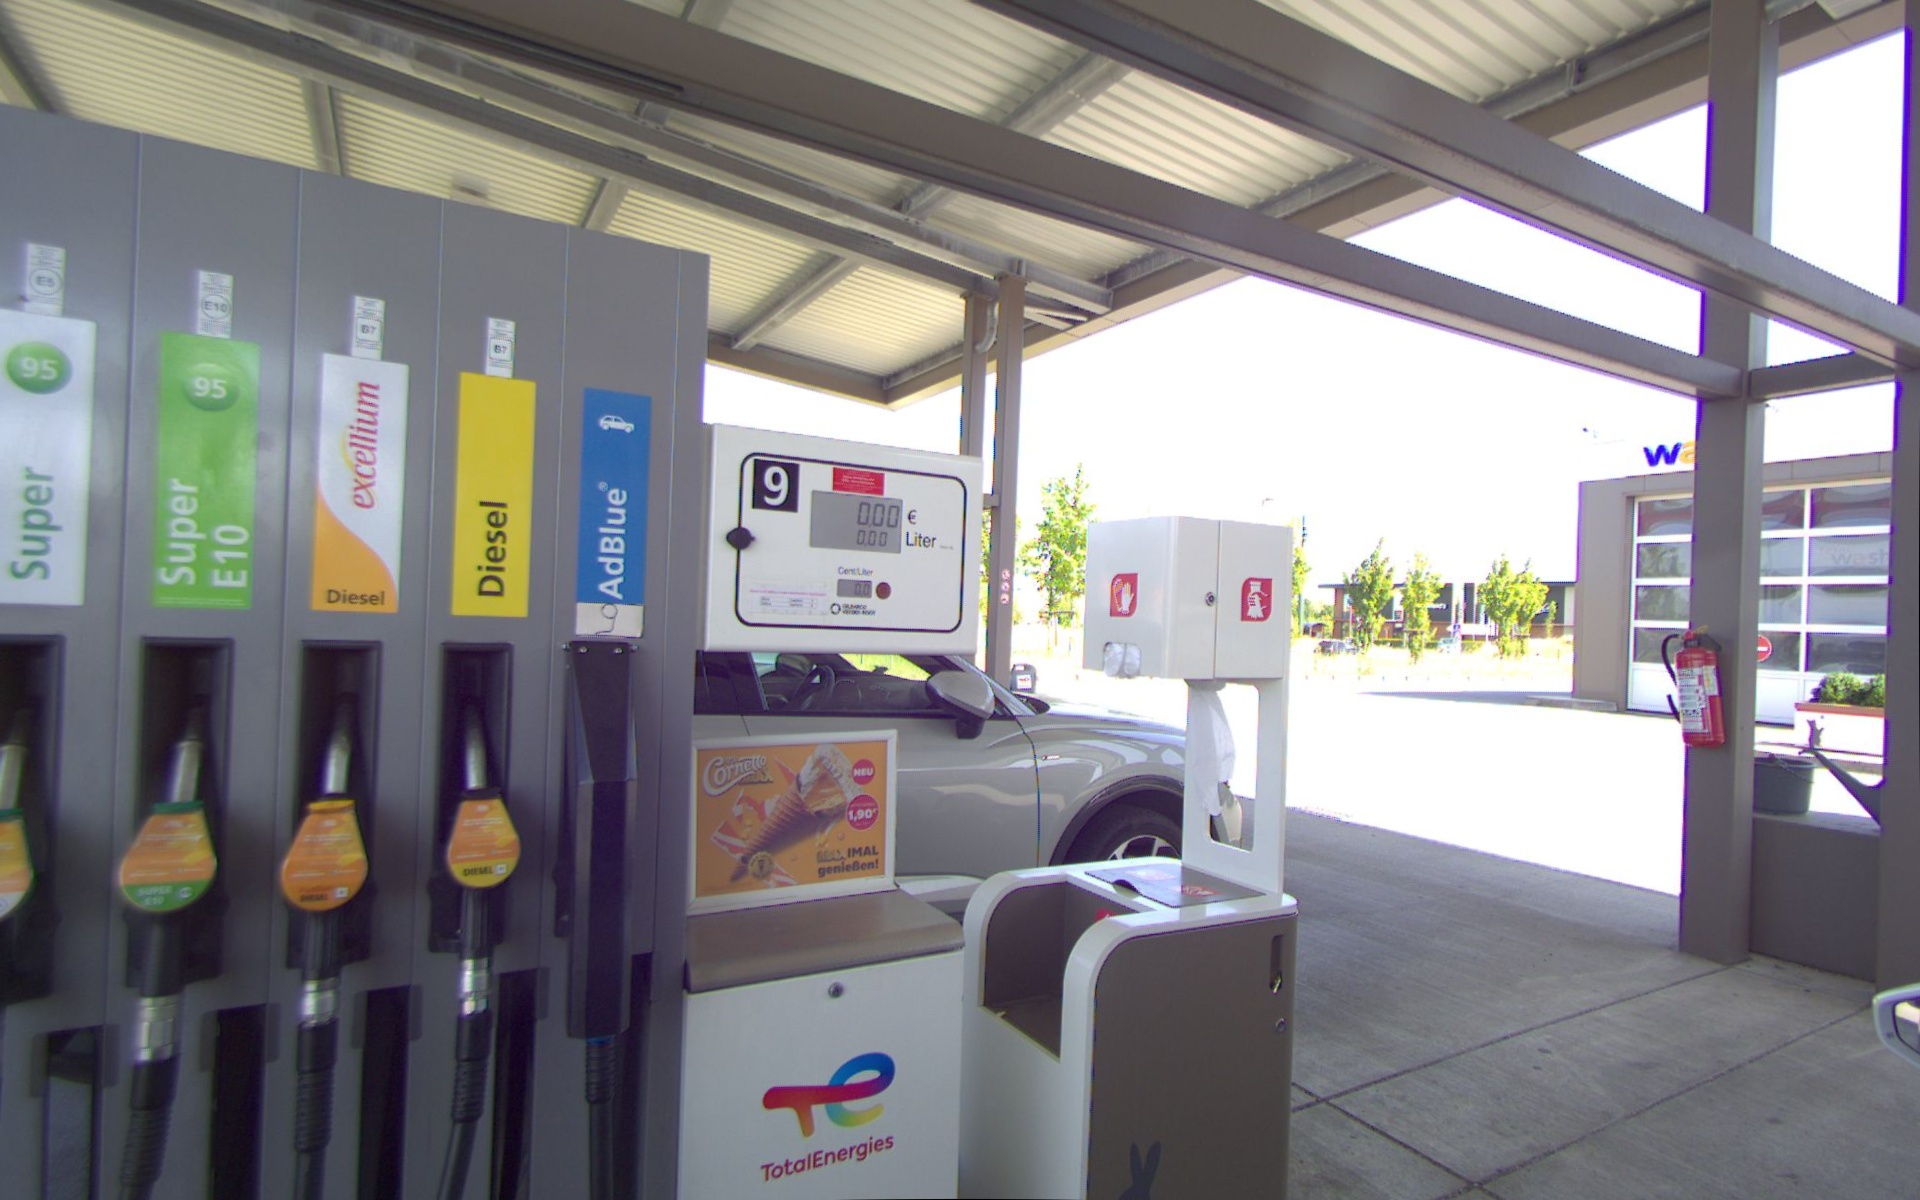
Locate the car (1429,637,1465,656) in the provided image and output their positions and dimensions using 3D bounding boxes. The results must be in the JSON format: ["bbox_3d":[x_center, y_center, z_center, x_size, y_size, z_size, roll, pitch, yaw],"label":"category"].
[{"bbox_3d":[45.737,4.353,94.297,3.973,1.617,1.779,2,-1,-44],"label":"car"}]

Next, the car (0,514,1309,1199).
[{"bbox_3d":[-0.831,0.651,3.927,4.274,1.562,1.772,2,-1,-30],"label":"car"}]

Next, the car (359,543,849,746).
[{"bbox_3d":[-3.592,0.432,10.459,4.488,1.710,1.848,2,-1,-34],"label":"car"}]
